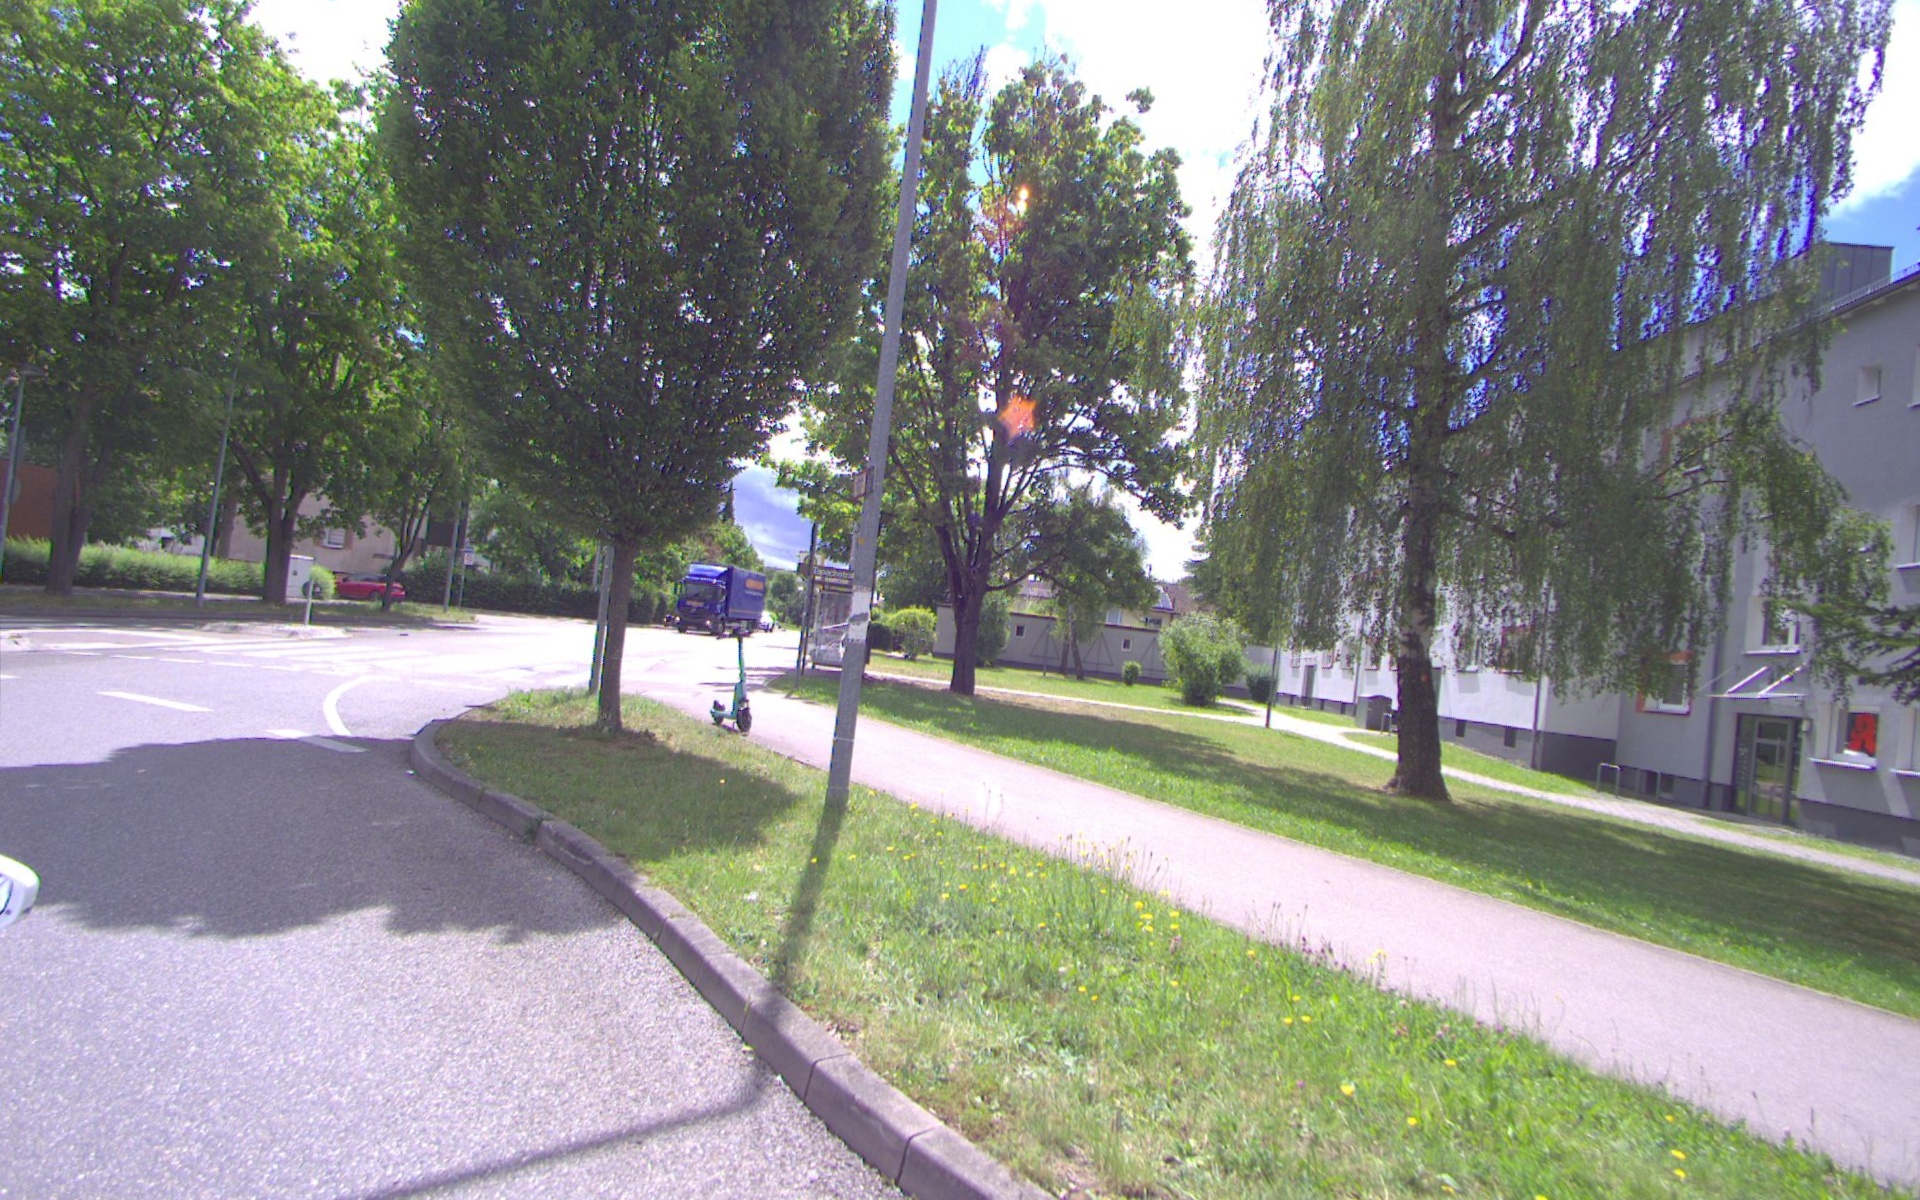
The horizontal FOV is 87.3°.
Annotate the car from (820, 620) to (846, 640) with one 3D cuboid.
[{"bbox_3d":[-13.526,3.227,107.490,1.962,1.800,4.006,7,-3,3],"label":"car"}]

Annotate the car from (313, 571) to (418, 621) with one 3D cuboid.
[{"bbox_3d":[-30.170,-0.184,51.108,3.925,1.963,2.021,7,-3,3],"label":"car"}]

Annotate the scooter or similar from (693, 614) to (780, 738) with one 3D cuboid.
[{"bbox_3d":[-2.810,0.923,12.548,0.481,1.360,1.376,6,1,-33],"label":"scooter or similar"}]

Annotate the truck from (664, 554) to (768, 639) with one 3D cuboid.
[{"bbox_3d":[-14.240,0.002,59.814,2.736,4.200,9.810,6,-2,4],"label":"truck"}]
